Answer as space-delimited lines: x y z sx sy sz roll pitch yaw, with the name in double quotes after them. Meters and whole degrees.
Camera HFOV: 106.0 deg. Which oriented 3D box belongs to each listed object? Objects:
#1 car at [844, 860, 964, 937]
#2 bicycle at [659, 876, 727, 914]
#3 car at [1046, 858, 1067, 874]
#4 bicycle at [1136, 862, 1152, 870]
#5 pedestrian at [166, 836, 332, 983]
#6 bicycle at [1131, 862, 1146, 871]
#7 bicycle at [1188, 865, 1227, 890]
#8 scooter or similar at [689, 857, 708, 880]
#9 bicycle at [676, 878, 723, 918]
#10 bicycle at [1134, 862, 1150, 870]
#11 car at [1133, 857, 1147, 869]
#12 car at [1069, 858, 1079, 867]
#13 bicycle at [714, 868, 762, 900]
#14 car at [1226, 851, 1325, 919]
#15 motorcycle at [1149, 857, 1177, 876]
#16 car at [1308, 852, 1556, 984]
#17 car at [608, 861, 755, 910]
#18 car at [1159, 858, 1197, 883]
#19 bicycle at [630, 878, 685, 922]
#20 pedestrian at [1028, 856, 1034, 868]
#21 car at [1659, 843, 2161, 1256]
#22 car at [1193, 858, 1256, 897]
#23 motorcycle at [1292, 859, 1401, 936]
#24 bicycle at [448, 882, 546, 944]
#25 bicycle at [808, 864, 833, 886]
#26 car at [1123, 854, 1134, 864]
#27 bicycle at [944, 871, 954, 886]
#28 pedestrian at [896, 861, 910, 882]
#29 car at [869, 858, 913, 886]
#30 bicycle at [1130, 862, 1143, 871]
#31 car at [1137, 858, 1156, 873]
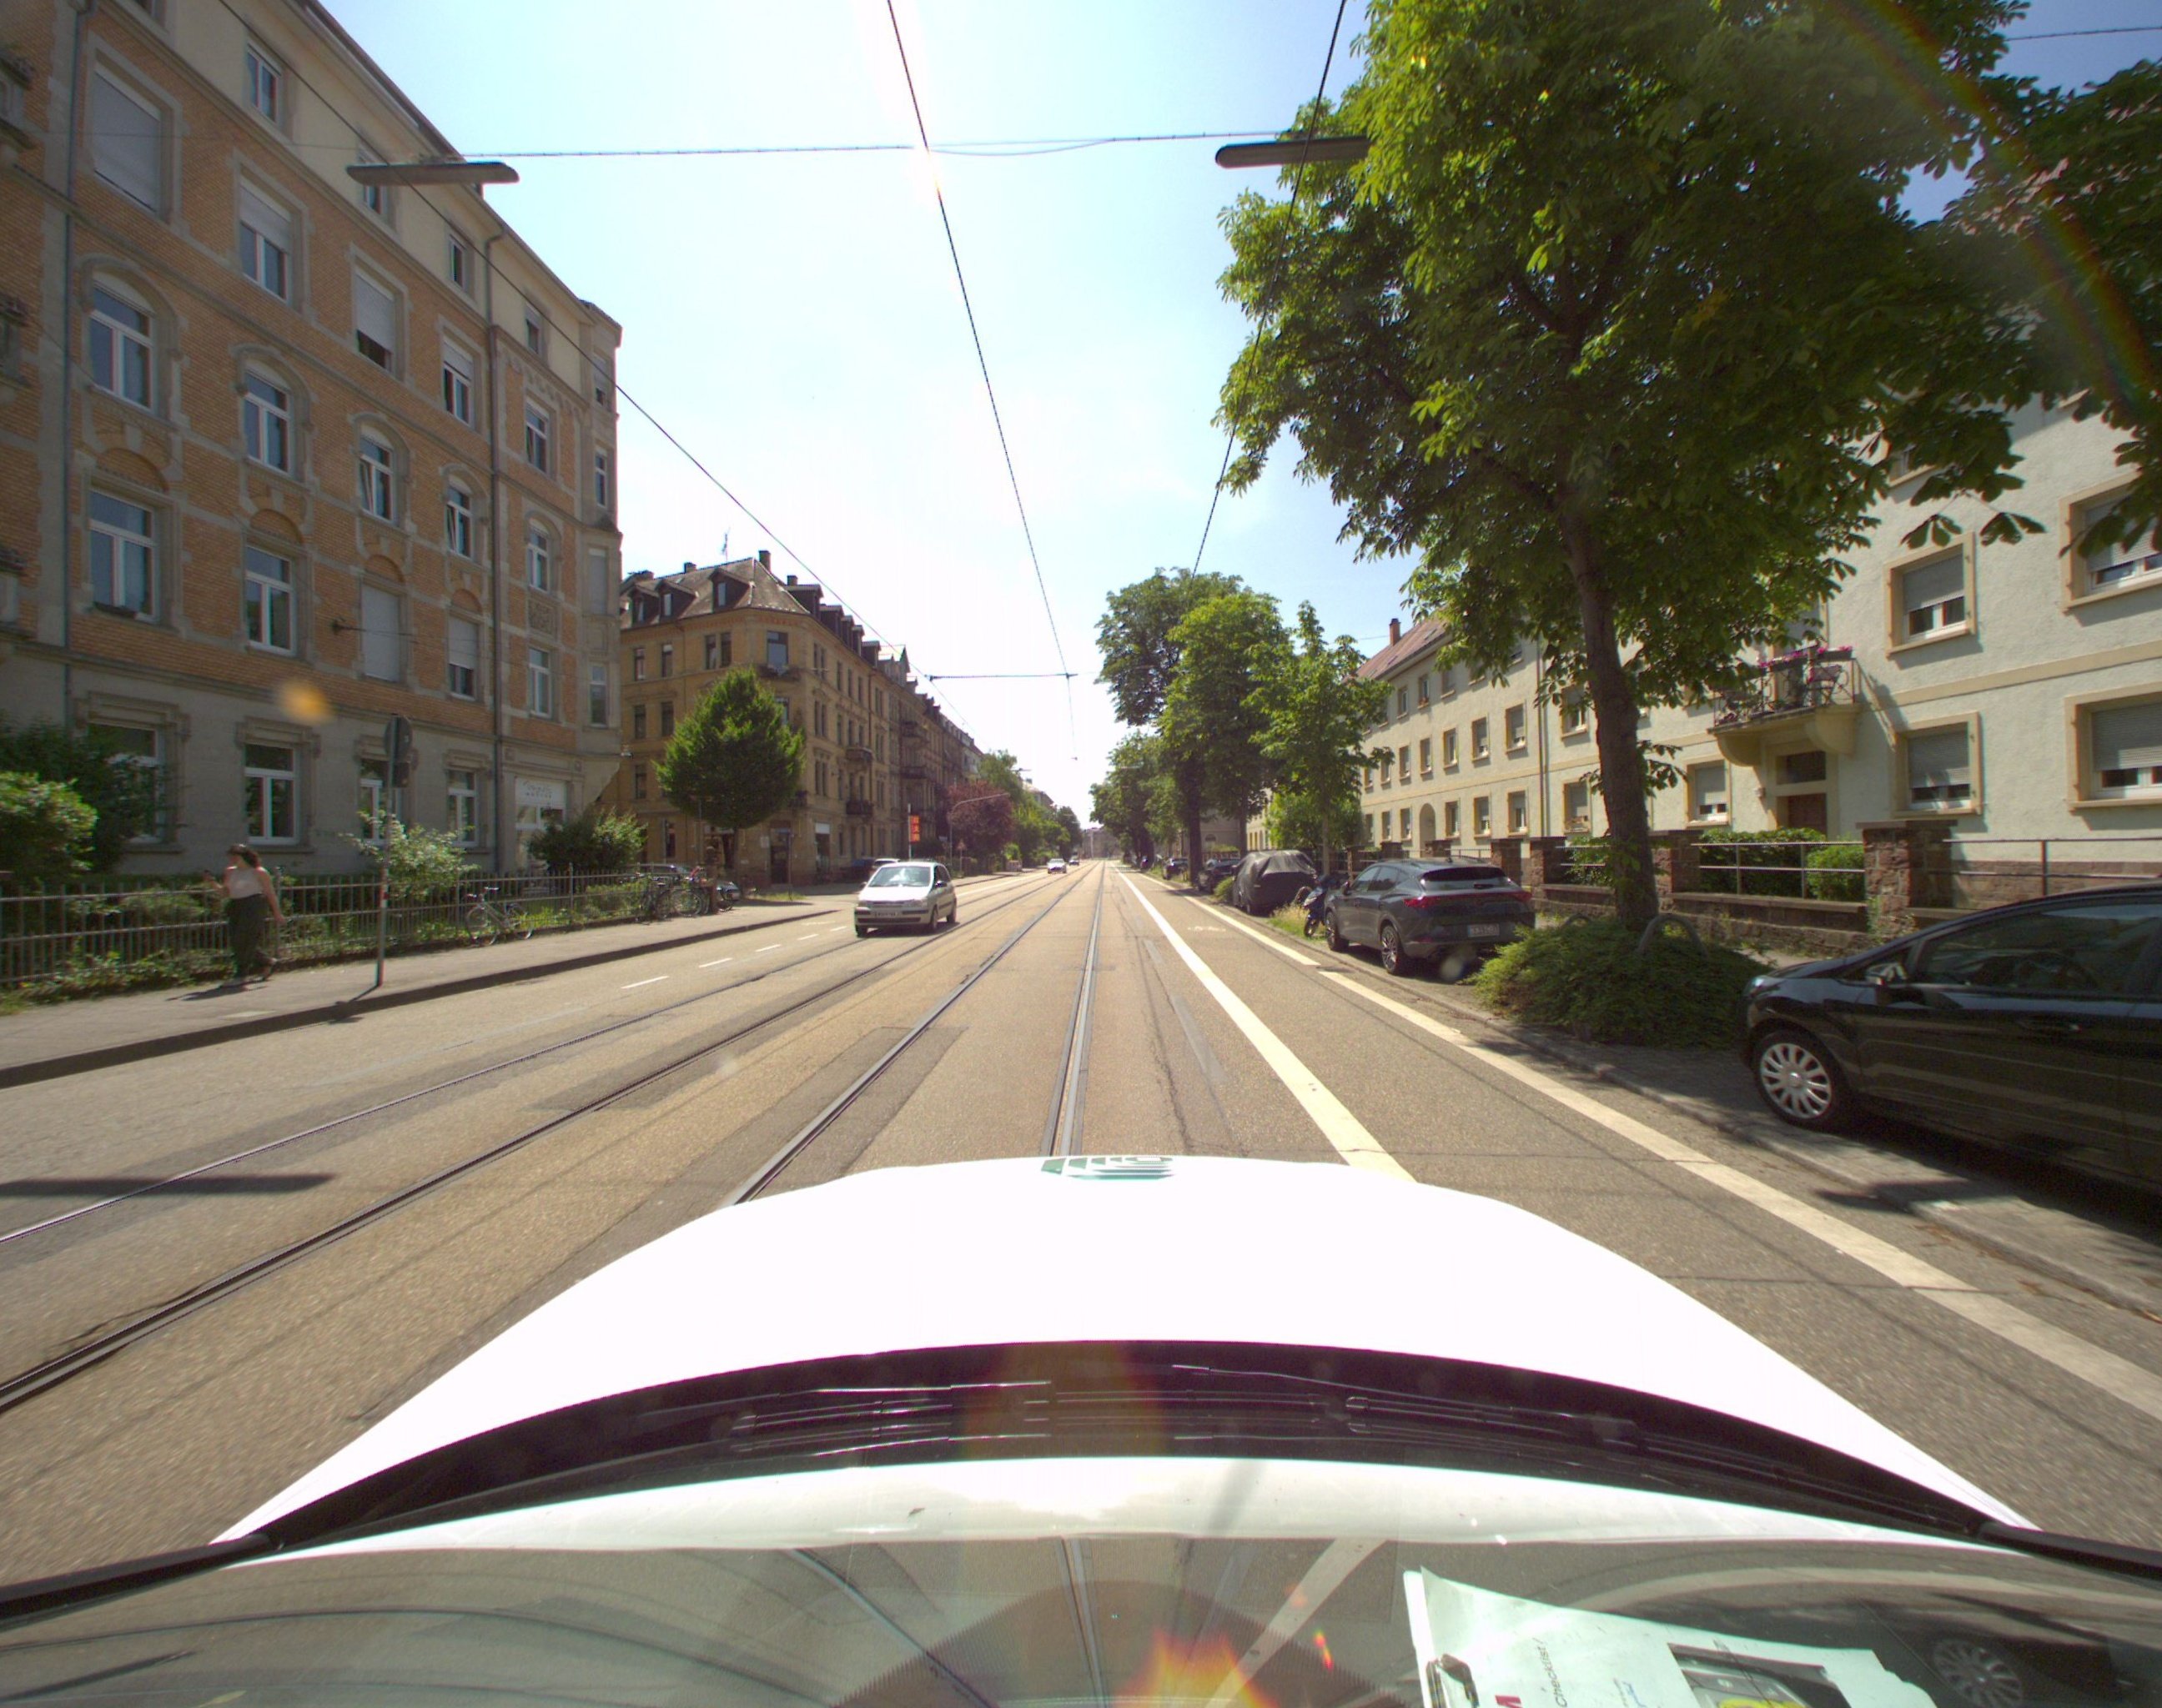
-3.831 0.909 18.296 1.679 1.449 4.001 -2 0 1 "car"
-11.181 1.177 23.466 1.697 1.037 0.552 -1 0 5 "bicycle"
-2.334 1.158 79.174 1.749 1.424 4.002 -2 -1 2 "car"
7.977 1.517 103.777 1.952 1.063 0.600 -2 -1 8 "bicycle"
-10.399 0.657 10.238 0.848 1.723 1.139 1 0 2 "pedestrian"
7.997 1.707 112.895 2.001 1.113 0.640 -2 -2 3 "bicycle"
5.822 1.064 37.564 1.650 1.078 0.605 -2 0 -6 "bicycle"
-21.632 0.812 46.061 1.265 1.273 0.499 -2 0 43 "scooter or similar"
-10.300 1.170 22.035 0.437 0.983 1.710 -1 0 0 "bicycle"
7.718 1.520 103.269 1.879 1.052 0.539 -2 -1 8 "bicycle"
7.861 1.256 108.085 1.616 1.448 3.811 -4 -1 1 "car"
-1.220 1.449 142.906 1.680 1.454 3.749 -1 0 1 "car"
-13.585 1.201 32.301 0.495 1.228 1.861 -2 -3 30 "bicycle"
5.328 0.770 22.942 1.938 1.651 4.886 -2 0 5 "car"
6.824 1.021 67.762 2.291 1.540 0.874 -1 0 44 "motorcycle"
4.877 0.771 12.105 1.727 1.552 4.452 -2 0 0 "car"
-12.418 0.979 25.472 3.745 1.428 1.714 -1 -1 2 "car"
6.150 1.016 52.210 1.764 1.426 4.860 -2 0 -1 "car"
-10.374 1.104 19.995 0.437 0.983 1.710 -1 0 0 "bicycle"
-6.916 1.165 112.900 0.749 1.629 0.832 -1 -1 -5 "pedestrian"
4.818 0.719 3.577 1.652 1.515 3.998 -1 0 -1 "car"
5.736 0.910 32.998 1.689 1.419 4.355 -2 0 -1 "car"
5.186 0.829 15.949 1.911 1.433 0.670 -1 0 -8 "motorcycle"
-10.603 1.039 14.853 0.495 0.987 1.710 3 0 0 "bicycle"
-15.214 1.219 47.629 0.635 1.187 2.147 -1 0 5 "bicycle"
9.437 1.000 162.276 1.986 2.035 4.698 -2 0 2 "car"
-9.274 1.719 57.133 0.452 1.003 1.805 -1 0 -2 "bicycle"
-11.734 1.135 53.709 0.708 1.298 0.711 -3 0 -3 "pedestrian"
-11.159 1.026 48.110 1.861 1.600 4.096 0 0 -3 "car"
8.069 1.802 117.505 1.809 1.113 0.493 -2 -2 0 "bicycle"
7.179 1.193 89.305 1.768 1.501 4.305 -3 0 1 "car"
